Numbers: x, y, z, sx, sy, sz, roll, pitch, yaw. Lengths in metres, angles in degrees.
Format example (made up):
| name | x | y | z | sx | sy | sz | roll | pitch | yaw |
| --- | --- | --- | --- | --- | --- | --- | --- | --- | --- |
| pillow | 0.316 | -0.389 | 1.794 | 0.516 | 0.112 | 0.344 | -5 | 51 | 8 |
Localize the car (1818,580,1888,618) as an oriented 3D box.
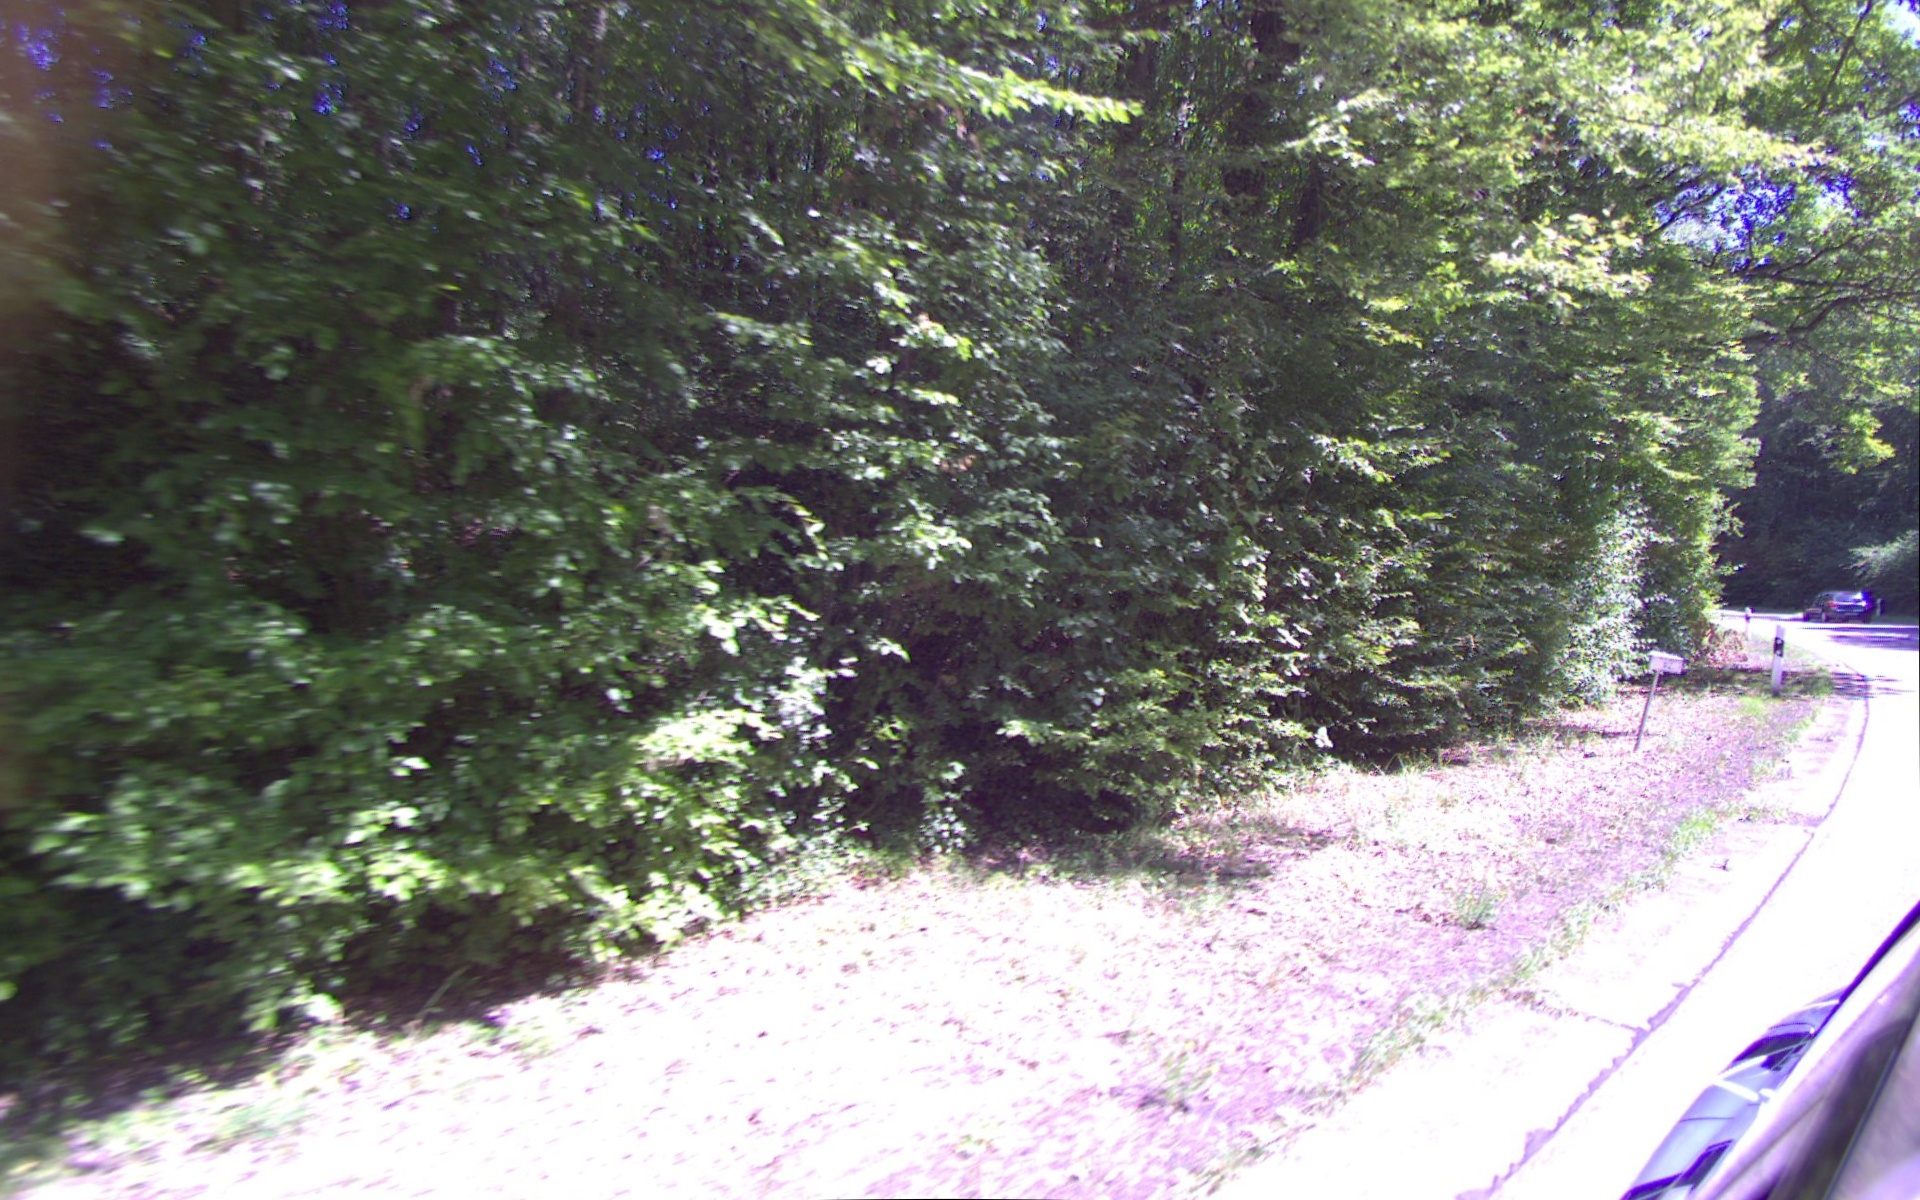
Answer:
| name | x | y | z | sx | sy | sz | roll | pitch | yaw |
| --- | --- | --- | --- | --- | --- | --- | --- | --- | --- |
| car | 40.751 | -0.098 | 46.265 | 1.670 | 1.593 | 3.852 | 2 | 3 | 31 |
